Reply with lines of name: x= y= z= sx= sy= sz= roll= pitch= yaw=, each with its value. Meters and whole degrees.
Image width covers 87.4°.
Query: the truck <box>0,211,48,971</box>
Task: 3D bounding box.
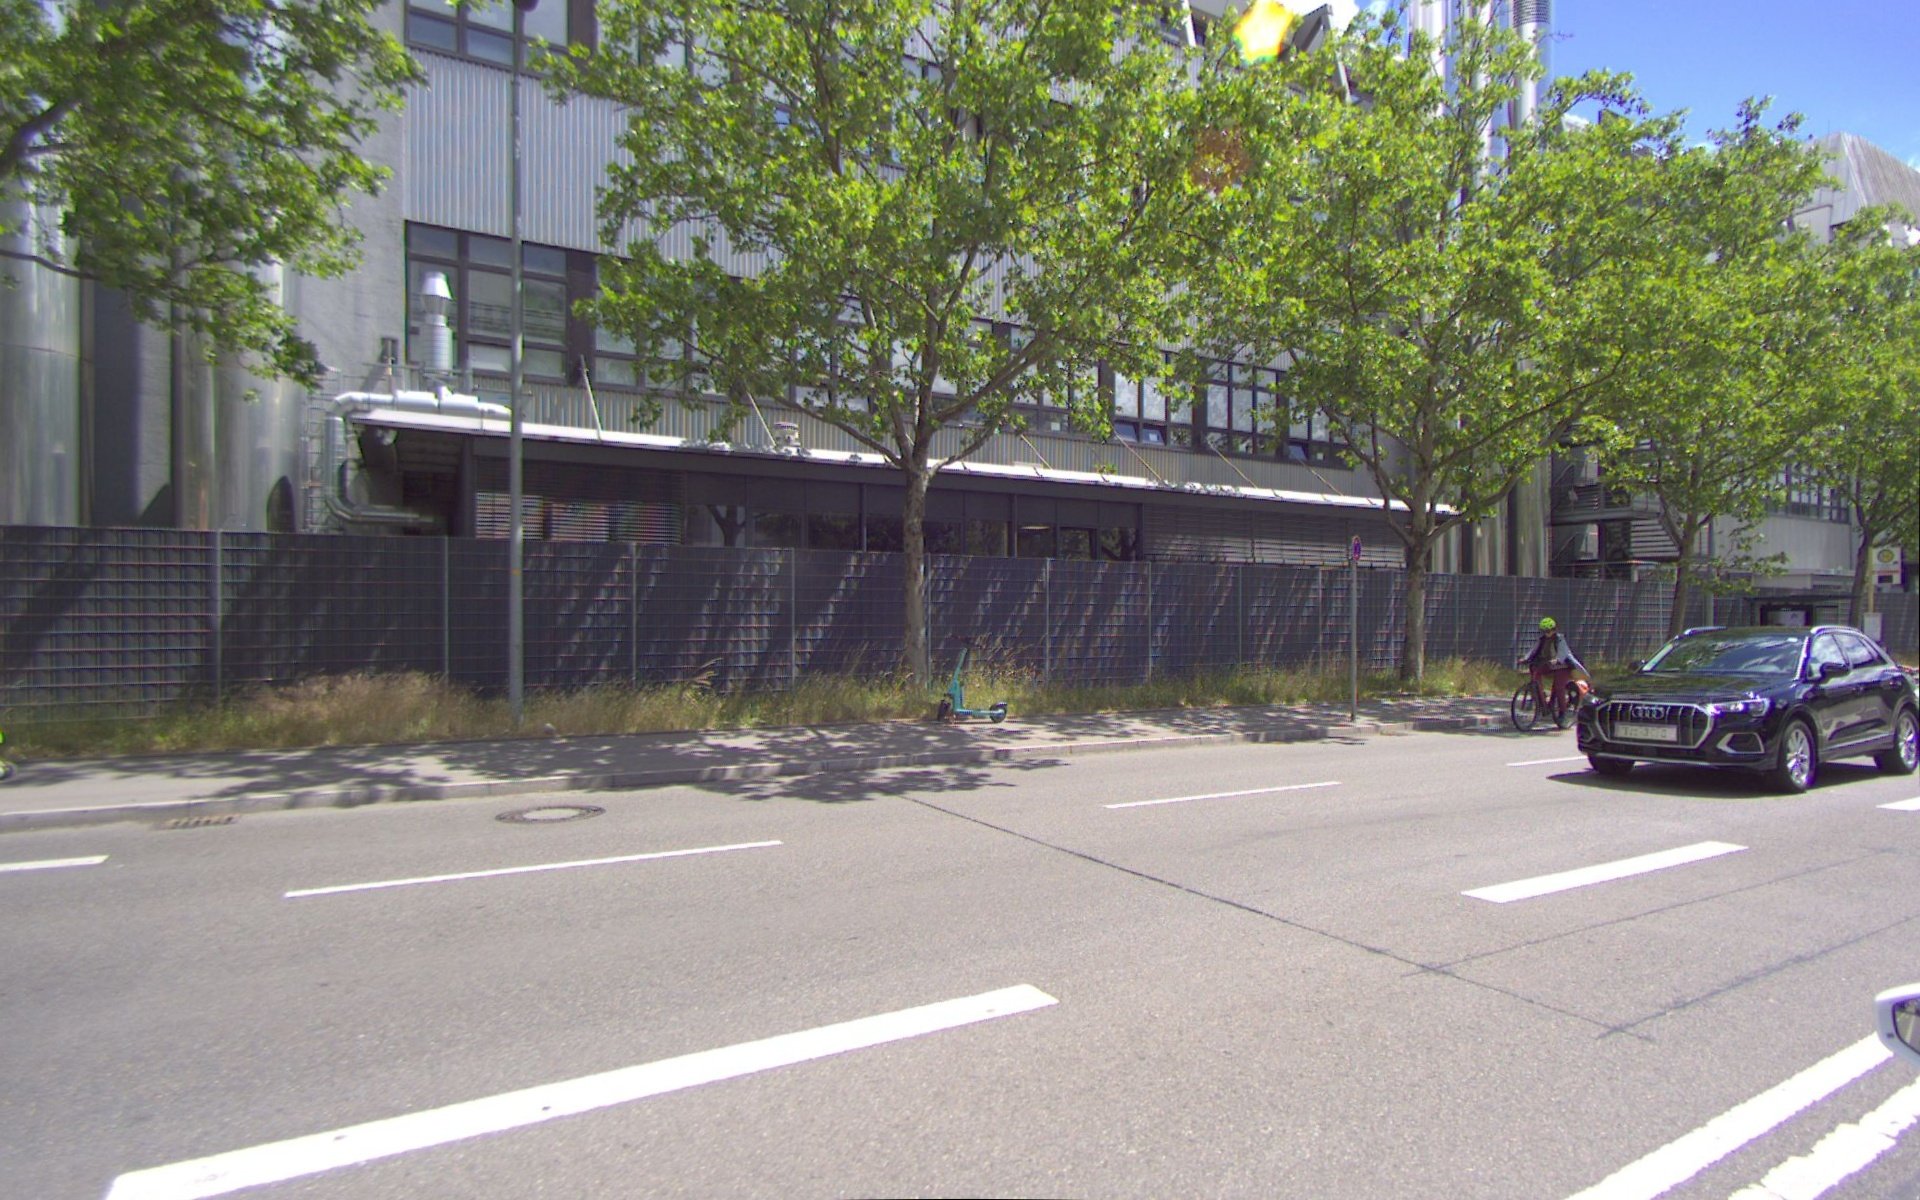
truck: x=-6.755 y=-0.111 z=1.765 sx=7.157 sy=3.170 sz=2.441 roll=1 pitch=-3 yaw=-30

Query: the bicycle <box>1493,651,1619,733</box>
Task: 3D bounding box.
bicycle: x=9.781 y=1.464 z=16.441 sx=2.446 sy=1.251 sz=0.732 roll=2 pitch=-3 yaw=-32

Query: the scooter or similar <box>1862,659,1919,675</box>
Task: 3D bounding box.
scooter or similar: x=31.809 y=2.261 z=33.935 sx=1.460 sy=0.385 sz=1.364 roll=2 pitch=2 yaw=6

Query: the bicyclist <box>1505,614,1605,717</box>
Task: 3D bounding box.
bicyclist: x=9.786 y=1.070 z=16.533 sx=1.210 sy=1.618 sz=0.950 roll=2 pitch=-3 yaw=-33

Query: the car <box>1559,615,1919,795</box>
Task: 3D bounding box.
car: x=8.520 y=1.028 z=10.788 sx=4.216 sy=1.601 sz=1.732 roll=2 pitch=-3 yaw=-30

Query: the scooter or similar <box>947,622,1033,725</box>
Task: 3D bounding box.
scooter or similar: x=0.438 y=1.044 z=14.368 sx=1.221 sy=1.422 sz=0.302 roll=2 pitch=0 yaw=-31
